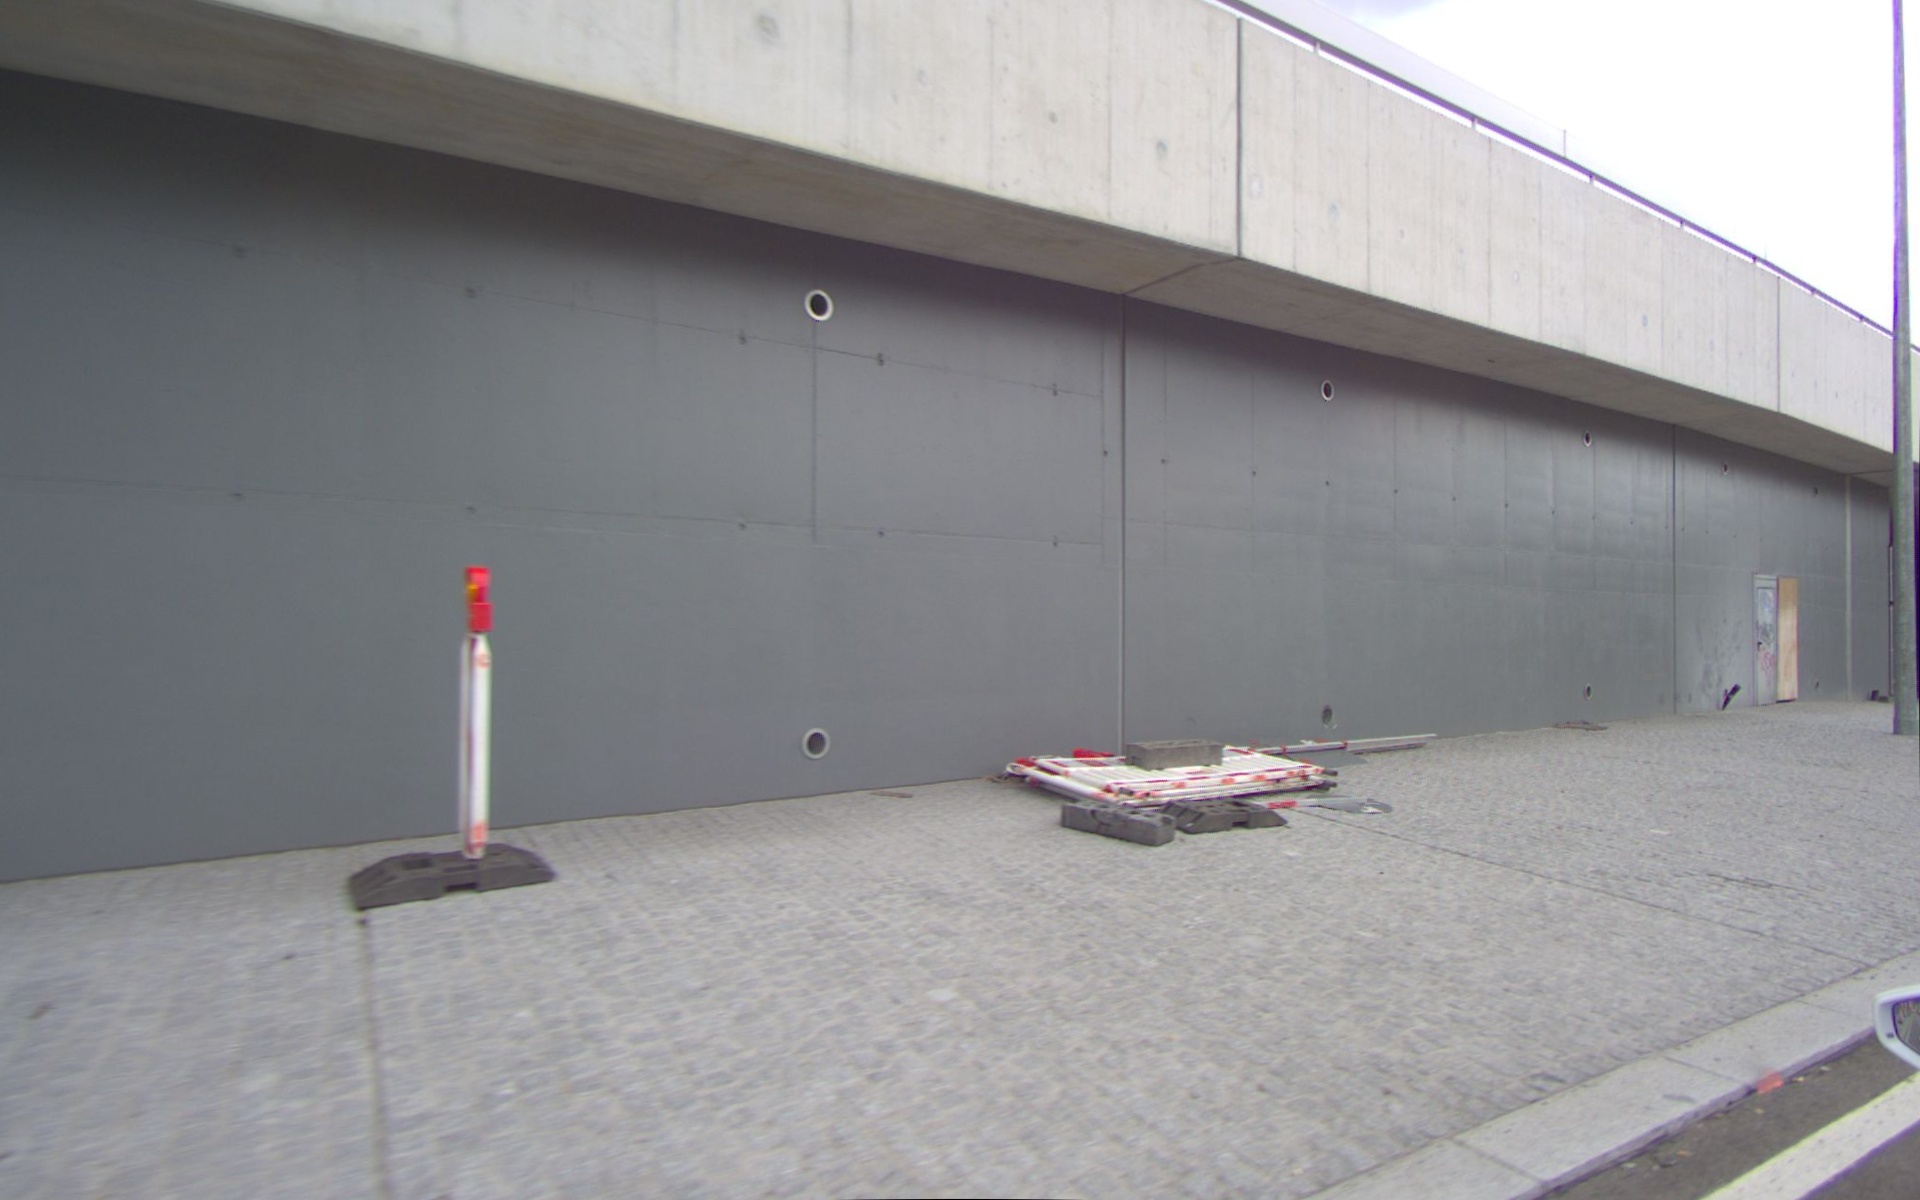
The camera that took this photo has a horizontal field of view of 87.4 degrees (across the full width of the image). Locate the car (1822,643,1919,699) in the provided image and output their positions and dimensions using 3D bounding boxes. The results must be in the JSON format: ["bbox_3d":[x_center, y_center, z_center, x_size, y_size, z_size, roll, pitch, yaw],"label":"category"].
[{"bbox_3d":[27.183,2.044,29.674,1.824,1.462,4.834,0,-2,31],"label":"car"}]
